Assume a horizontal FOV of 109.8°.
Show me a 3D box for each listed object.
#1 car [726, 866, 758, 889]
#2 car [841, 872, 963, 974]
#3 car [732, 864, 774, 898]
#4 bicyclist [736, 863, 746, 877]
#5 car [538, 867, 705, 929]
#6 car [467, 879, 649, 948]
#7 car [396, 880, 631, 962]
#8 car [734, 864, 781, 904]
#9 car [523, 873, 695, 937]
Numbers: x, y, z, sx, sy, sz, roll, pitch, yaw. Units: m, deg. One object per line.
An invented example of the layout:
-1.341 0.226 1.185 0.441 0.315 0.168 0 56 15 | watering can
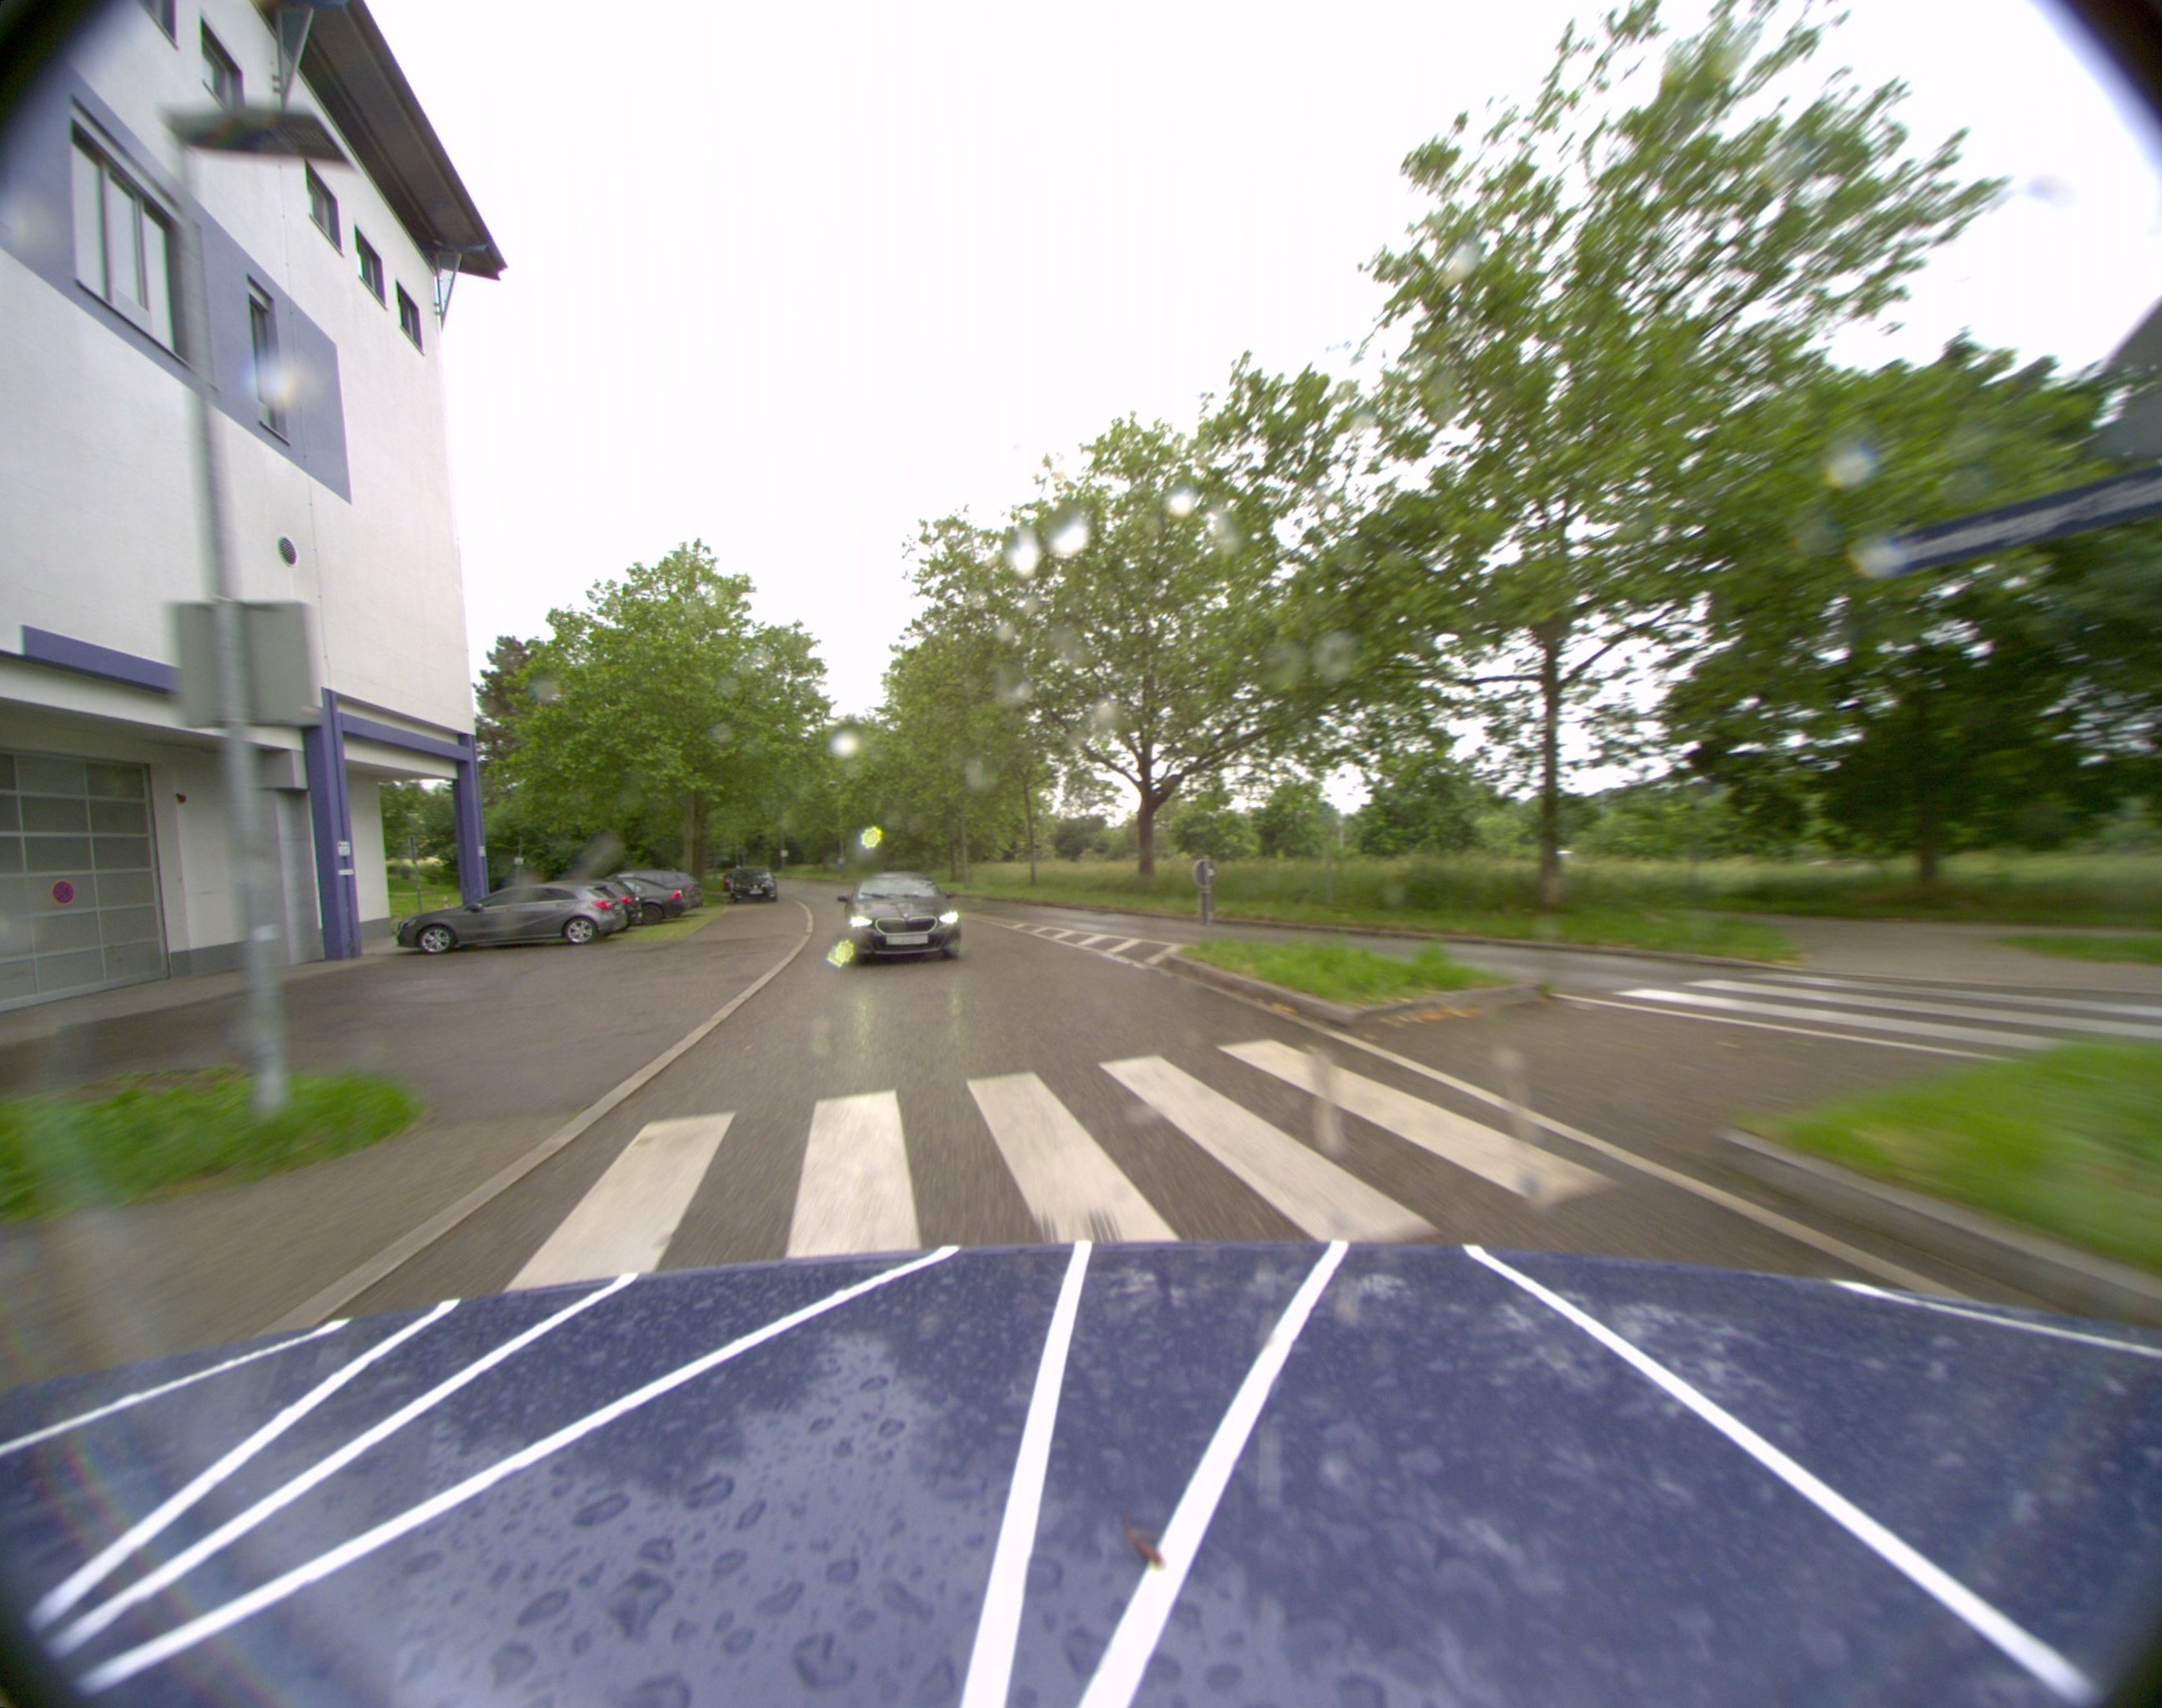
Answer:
-22.657 1.516 50.728 1.805 1.364 3.736 -2 1 -26 | car
-3.491 1.128 14.326 1.846 1.486 4.895 -1 0 -16 | car
-16.871 1.337 38.965 1.736 1.582 4.244 -1 0 -26 | car
-37.275 1.738 83.285 0.699 1.489 0.798 -5 3 -33 | bicyclist
-15.137 1.394 25.346 4.490 1.670 1.764 -3 0 -24 | car
-13.729 1.513 20.212 3.631 1.444 1.718 -3 0 -22 | car
-12.940 1.481 17.624 3.954 1.445 1.718 -3 2 -19 | car
-15.027 1.326 35.157 1.809 1.592 4.362 -2 1 -25 | car
-14.000 1.470 22.847 4.124 1.470 1.718 -3 2 -24 | car
